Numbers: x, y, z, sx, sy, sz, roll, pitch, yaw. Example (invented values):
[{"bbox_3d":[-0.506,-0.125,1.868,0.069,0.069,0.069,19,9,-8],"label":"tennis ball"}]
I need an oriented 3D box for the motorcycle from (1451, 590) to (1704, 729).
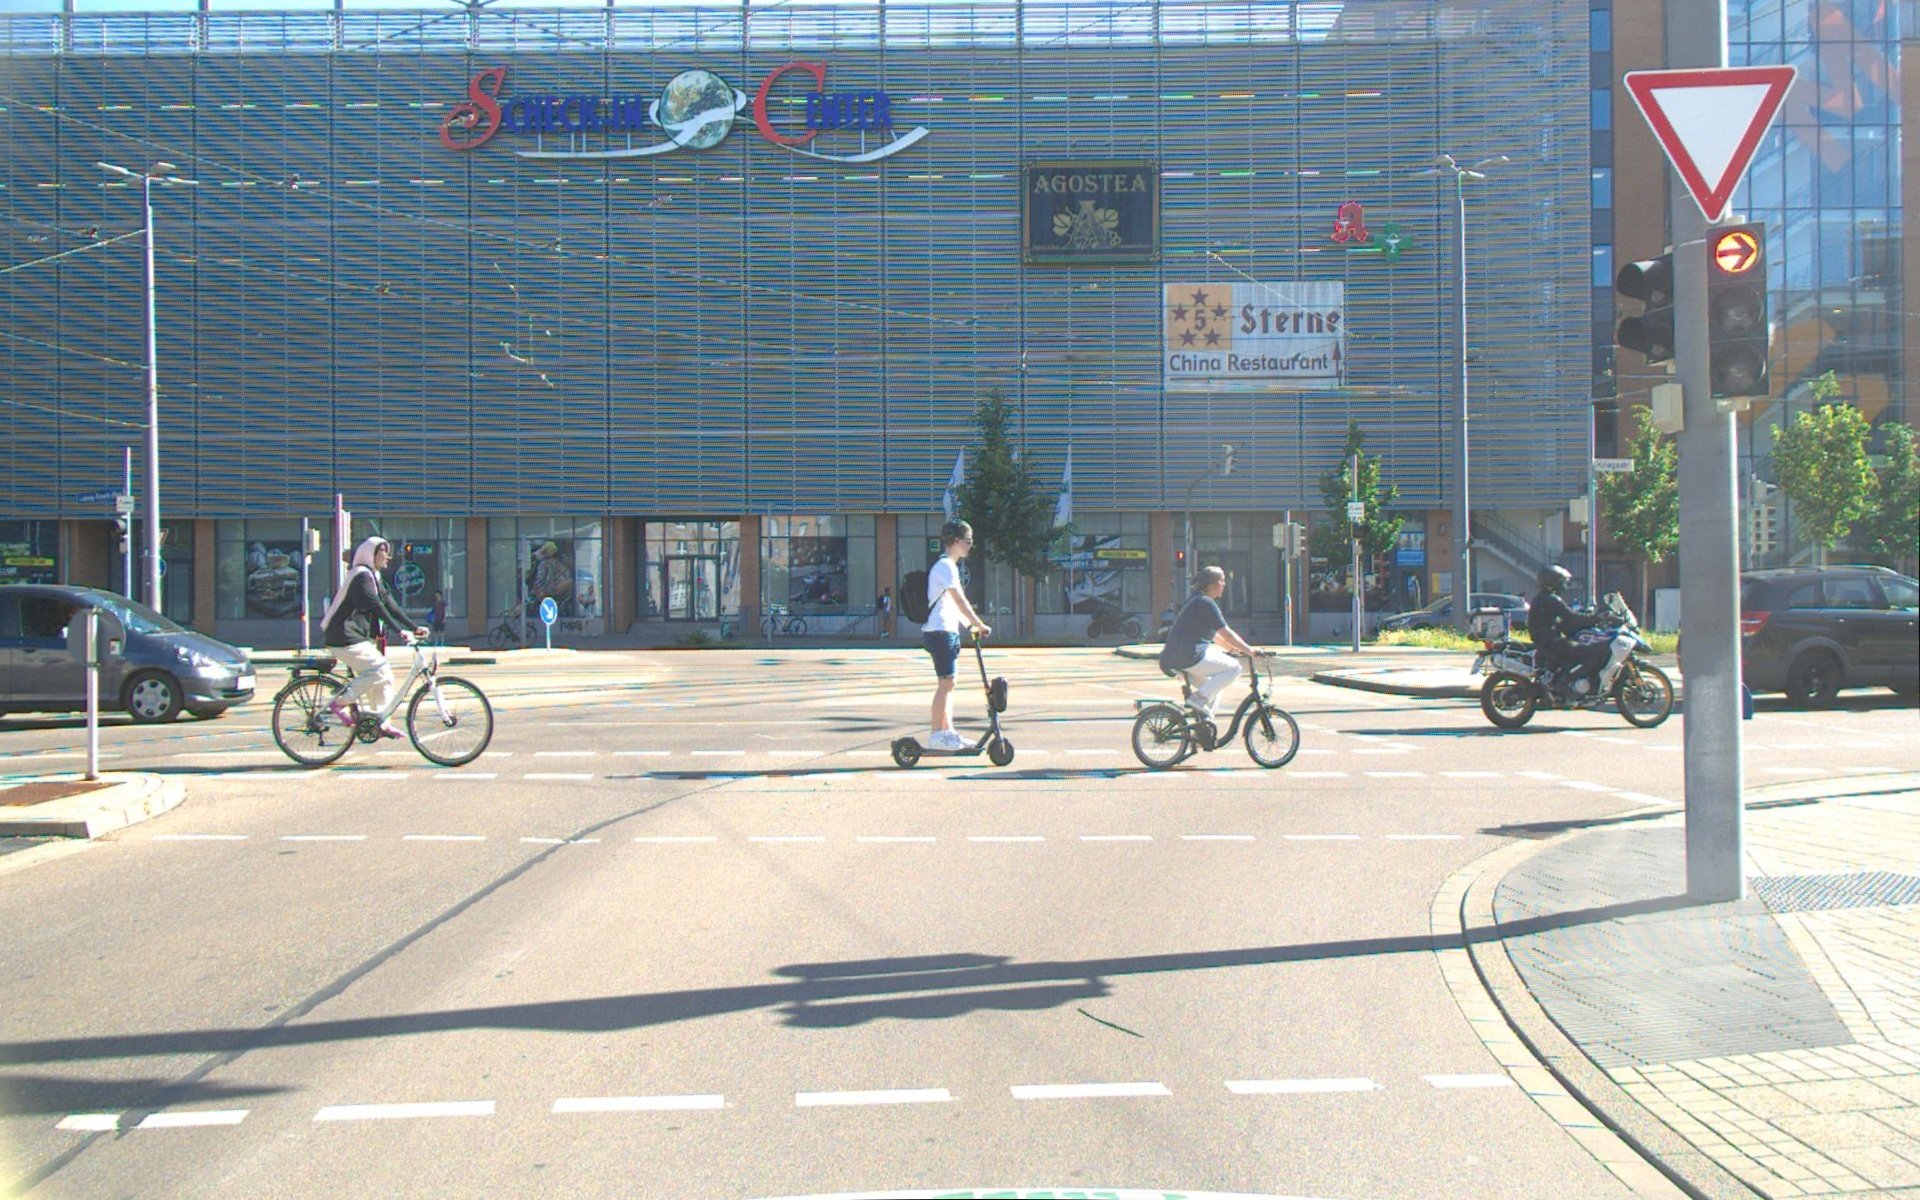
[{"bbox_3d":[6.659,0.629,17.912,2.394,1.443,0.914,1,0,-3],"label":"motorcycle"}]

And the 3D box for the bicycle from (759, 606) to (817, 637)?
[{"bbox_3d":[-6.271,0.777,60.449,1.985,1.078,1.144,0,0,-1],"label":"bicycle"}]

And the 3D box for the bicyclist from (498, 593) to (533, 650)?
[{"bbox_3d":[-14.651,0.700,54.478,0.838,1.834,0.803,0,0,-42],"label":"bicyclist"}]

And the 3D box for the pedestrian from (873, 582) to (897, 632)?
[{"bbox_3d":[-2.708,0.260,59.469,0.831,1.794,0.620,0,0,-2],"label":"pedestrian"}]

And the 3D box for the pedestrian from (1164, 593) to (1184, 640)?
[{"bbox_3d":[7.055,0.537,54.585,0.577,1.561,0.658,0,0,-1],"label":"pedestrian"}]

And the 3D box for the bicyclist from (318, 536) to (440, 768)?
[{"bbox_3d":[-4.698,0.409,13.418,0.748,1.820,0.762,0,0,-4],"label":"bicyclist"}]

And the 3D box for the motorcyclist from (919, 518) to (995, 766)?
[{"bbox_3d":[-0.024,0.346,13.903,0.615,2.049,0.497,0,0,-1],"label":"motorcyclist"}]

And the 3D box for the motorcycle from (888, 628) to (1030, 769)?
[{"bbox_3d":[-0.012,0.816,13.887,1.162,1.141,0.483,0,0,-1],"label":"motorcycle"}]

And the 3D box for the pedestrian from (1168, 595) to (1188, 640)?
[{"bbox_3d":[7.299,0.569,55.389,0.577,1.488,0.658,0,0,-1],"label":"pedestrian"}]

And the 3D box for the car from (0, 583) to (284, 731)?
[{"bbox_3d":[-9.669,0.601,18.256,3.679,1.552,1.821,0,0,-5],"label":"car"}]

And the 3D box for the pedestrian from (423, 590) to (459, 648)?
[{"bbox_3d":[-17.192,0.612,54.787,0.890,1.901,0.816,-1,0,42],"label":"pedestrian"}]

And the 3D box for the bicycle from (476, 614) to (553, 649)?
[{"bbox_3d":[-14.665,1.020,54.451,2.225,1.089,1.030,0,0,-42],"label":"bicycle"}]

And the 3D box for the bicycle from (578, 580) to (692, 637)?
[{"bbox_3d":[-11.942,0.310,60.873,3.905,2.049,1.330,0,0,-1],"label":"bicycle"}]

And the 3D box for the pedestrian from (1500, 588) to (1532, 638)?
[{"bbox_3d":[19.843,0.459,59.022,0.837,1.768,0.752,-1,0,-7],"label":"pedestrian"}]

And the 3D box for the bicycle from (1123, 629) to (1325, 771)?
[{"bbox_3d":[2.198,0.825,13.891,1.545,1.126,0.734,1,0,-3],"label":"bicycle"}]

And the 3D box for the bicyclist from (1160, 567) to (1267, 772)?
[{"bbox_3d":[2.128,0.570,13.961,0.767,1.677,0.690,0,0,-3],"label":"bicyclist"}]

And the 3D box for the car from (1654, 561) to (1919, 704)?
[{"bbox_3d":[11.615,0.374,21.465,4.550,1.748,1.835,0,1,-10],"label":"car"}]

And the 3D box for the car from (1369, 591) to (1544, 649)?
[{"bbox_3d":[13.727,0.547,45.856,4.395,1.521,1.494,-1,0,-1],"label":"car"}]

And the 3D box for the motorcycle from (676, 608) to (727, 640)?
[{"bbox_3d":[-8.720,0.815,55.747,1.616,1.078,0.497,-1,0,9],"label":"motorcycle"}]

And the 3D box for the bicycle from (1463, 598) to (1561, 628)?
[{"bbox_3d":[20.510,0.475,61.501,3.289,1.096,1.117,0,0,5],"label":"bicycle"}]

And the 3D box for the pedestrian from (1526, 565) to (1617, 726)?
[{"bbox_3d":[6.617,0.480,17.925,0.729,1.706,0.664,0,0,-1],"label":"pedestrian"}]

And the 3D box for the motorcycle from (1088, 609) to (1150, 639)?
[{"bbox_3d":[5.854,0.884,60.958,2.157,1.061,1.061,0,0,-1],"label":"motorcycle"}]

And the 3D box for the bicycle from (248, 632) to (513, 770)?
[{"bbox_3d":[-4.652,0.800,13.371,1.887,1.054,0.694,0,0,-4],"label":"bicycle"}]
